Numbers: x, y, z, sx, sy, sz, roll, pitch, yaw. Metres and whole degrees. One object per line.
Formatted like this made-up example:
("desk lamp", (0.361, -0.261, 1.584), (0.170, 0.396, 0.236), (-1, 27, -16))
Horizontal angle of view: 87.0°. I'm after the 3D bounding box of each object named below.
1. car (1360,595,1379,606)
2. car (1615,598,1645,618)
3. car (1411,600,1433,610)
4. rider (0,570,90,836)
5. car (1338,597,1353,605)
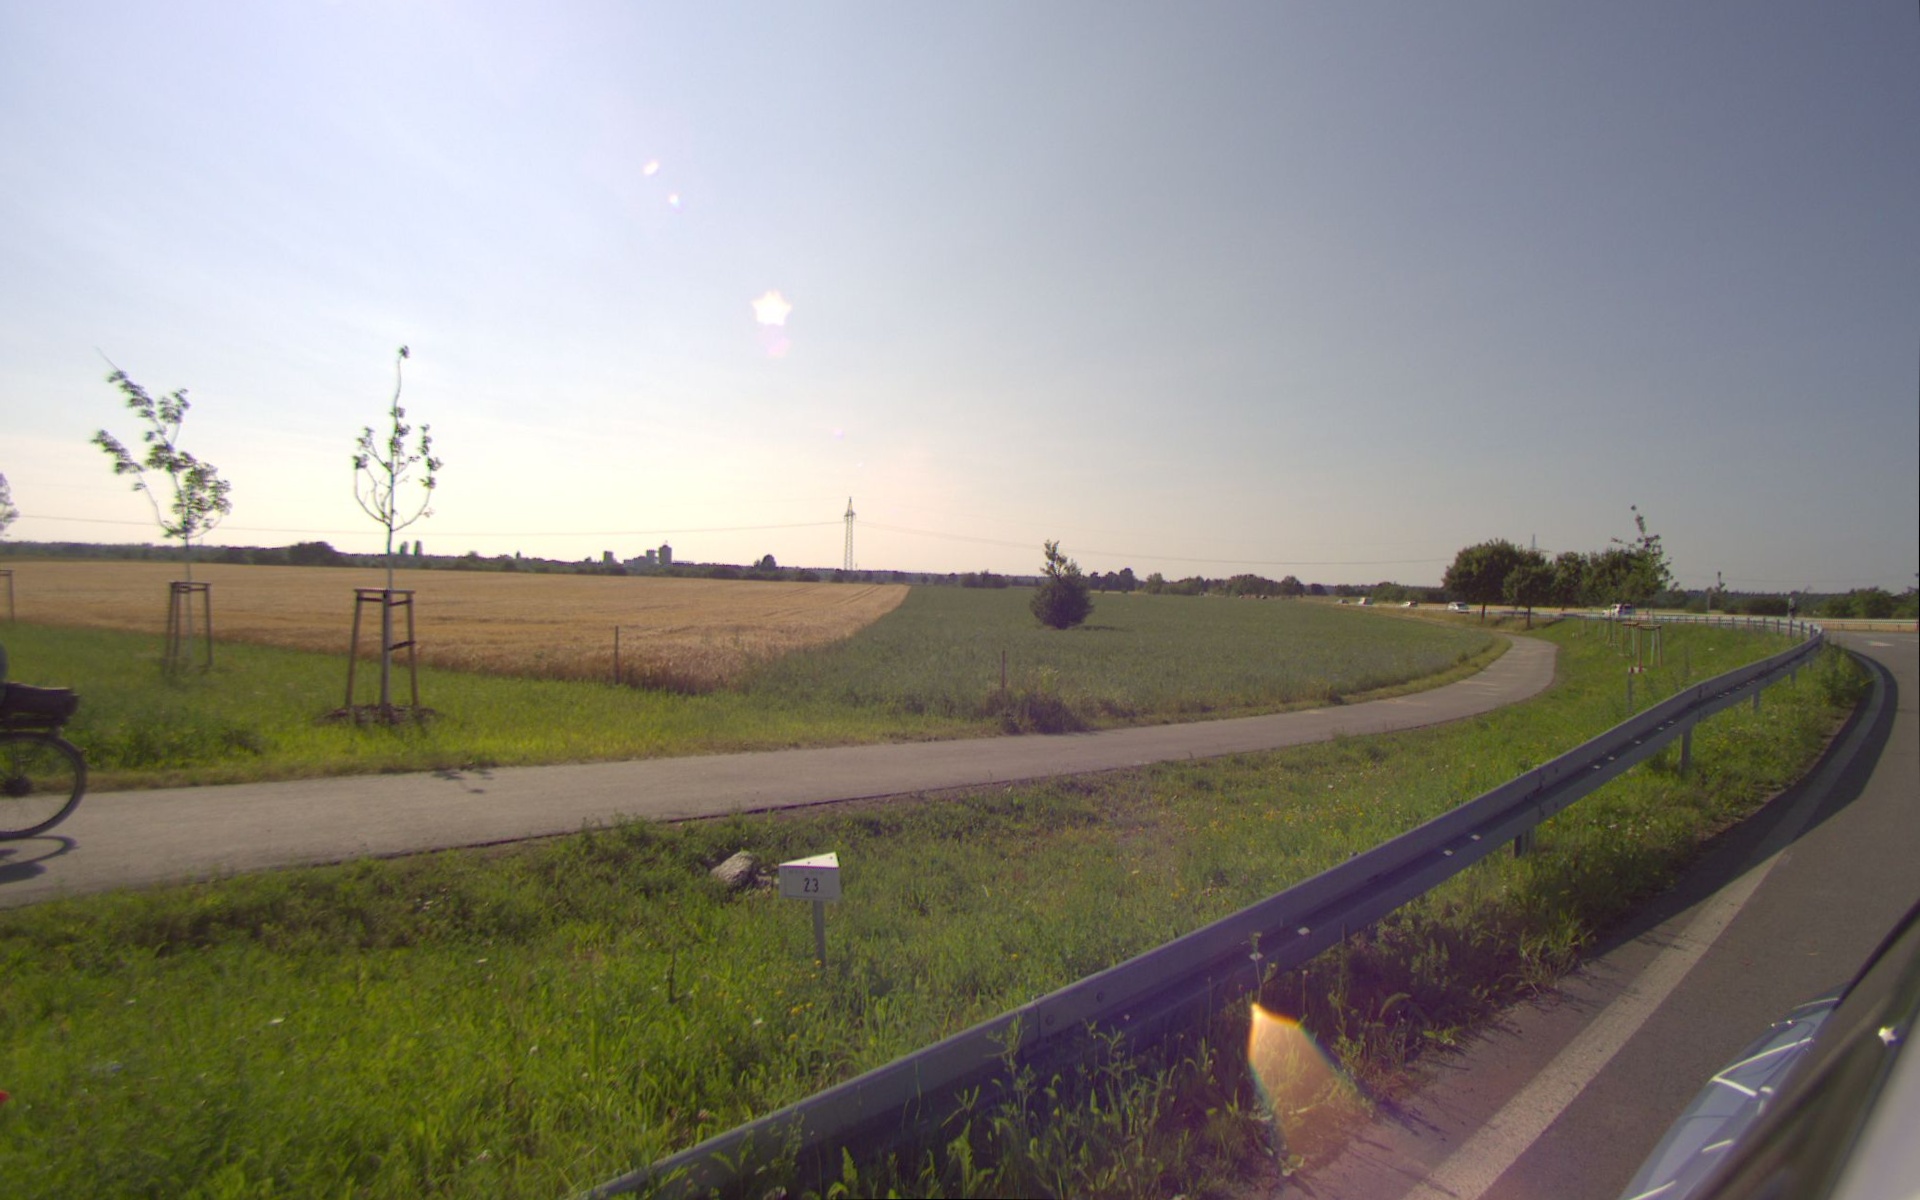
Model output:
("car", (82.534, 0.081, 204.152), (2.085, 2.040, 5.143), (1, -2, 6))
("car", (67.958, 0.800, 102.705), (1.678, 1.693, 4.829), (0, 3, 23))
("car", (79.423, 0.933, 174.035), (2.088, 1.512, 5.134), (1, -2, 11))
("rider", (-6.402, 0.636, 6.452), (0.806, 1.663, 0.991), (2, 0, 1))
("car", (84.360, 0.279, 221.498), (1.768, 1.467, 4.698), (1, -2, 4))
